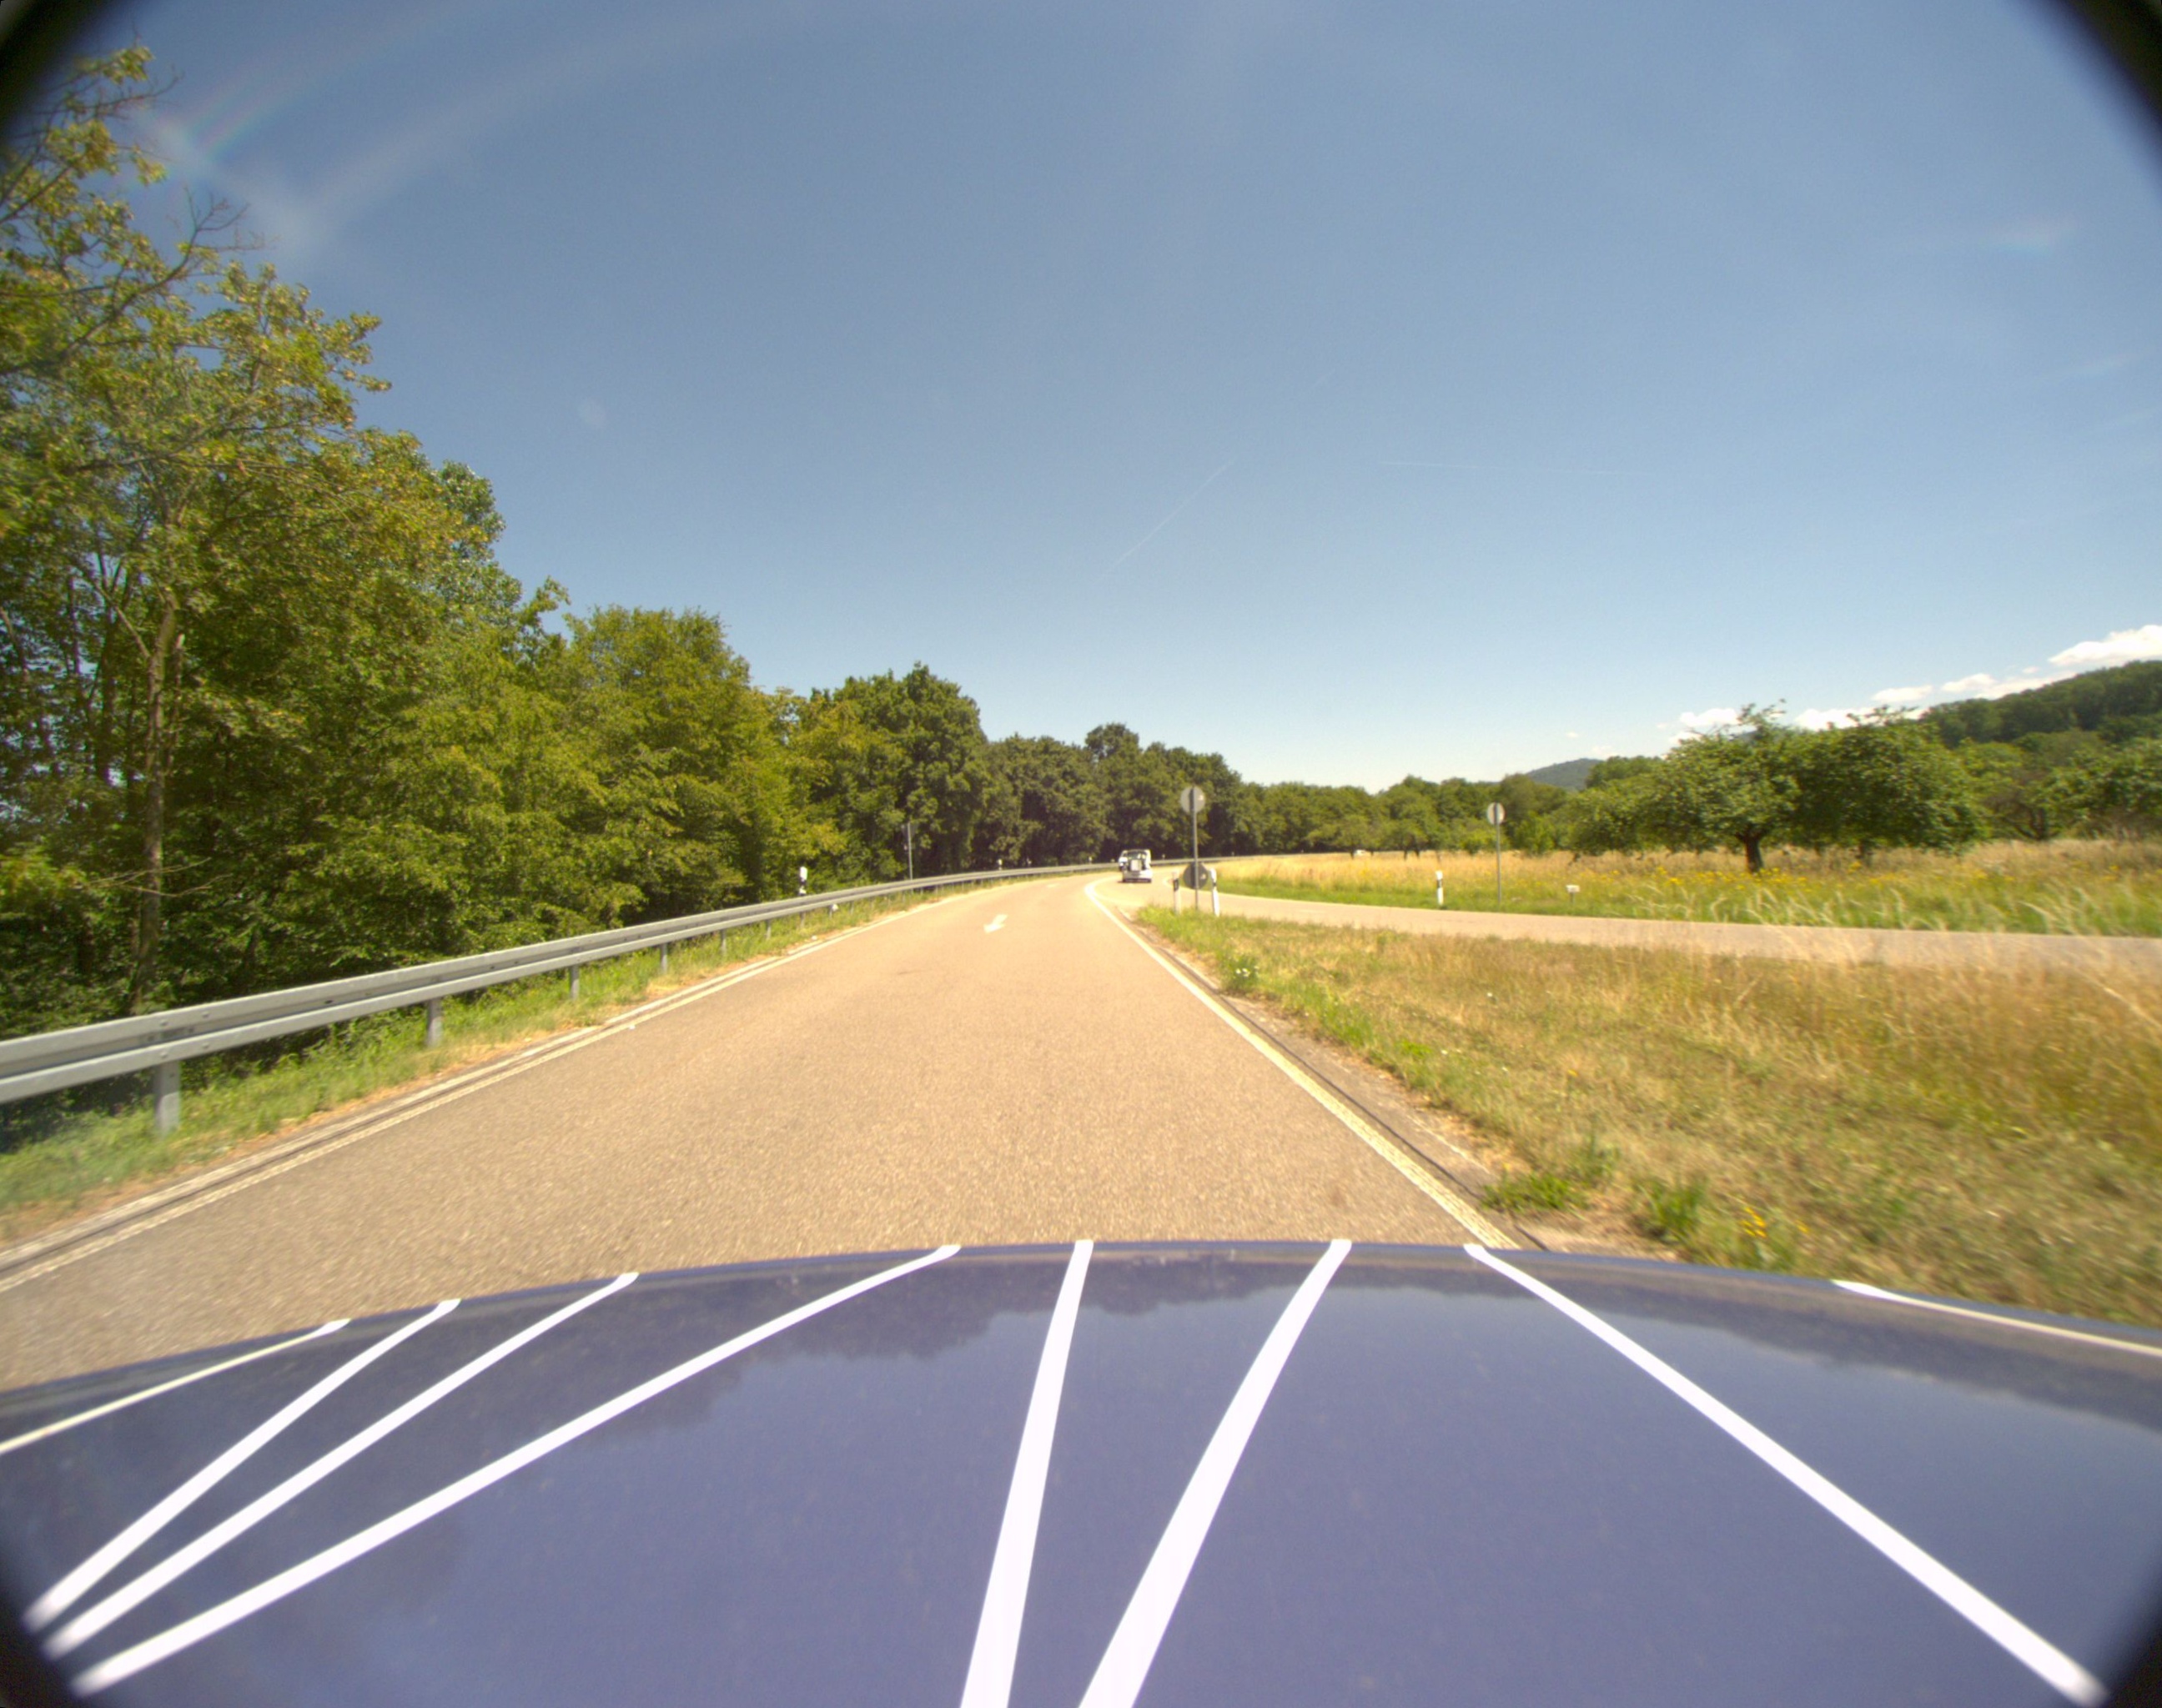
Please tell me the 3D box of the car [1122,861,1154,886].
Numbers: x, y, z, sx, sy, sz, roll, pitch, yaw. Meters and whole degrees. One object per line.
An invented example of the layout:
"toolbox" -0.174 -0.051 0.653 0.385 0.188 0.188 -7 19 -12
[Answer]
"car" 3.500 1.187 46.287 1.850 1.415 4.150 0 -1 5

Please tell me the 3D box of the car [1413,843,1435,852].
"car" 64.066 -1.214 141.889 4.408 1.450 1.822 -2 4 -40

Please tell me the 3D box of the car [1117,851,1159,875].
"car" 5.544 0.835 72.934 2.221 2.021 5.436 -2 0 24

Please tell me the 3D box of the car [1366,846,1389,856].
"car" 47.820 -0.456 122.584 4.181 1.498 1.823 1 0 -43
